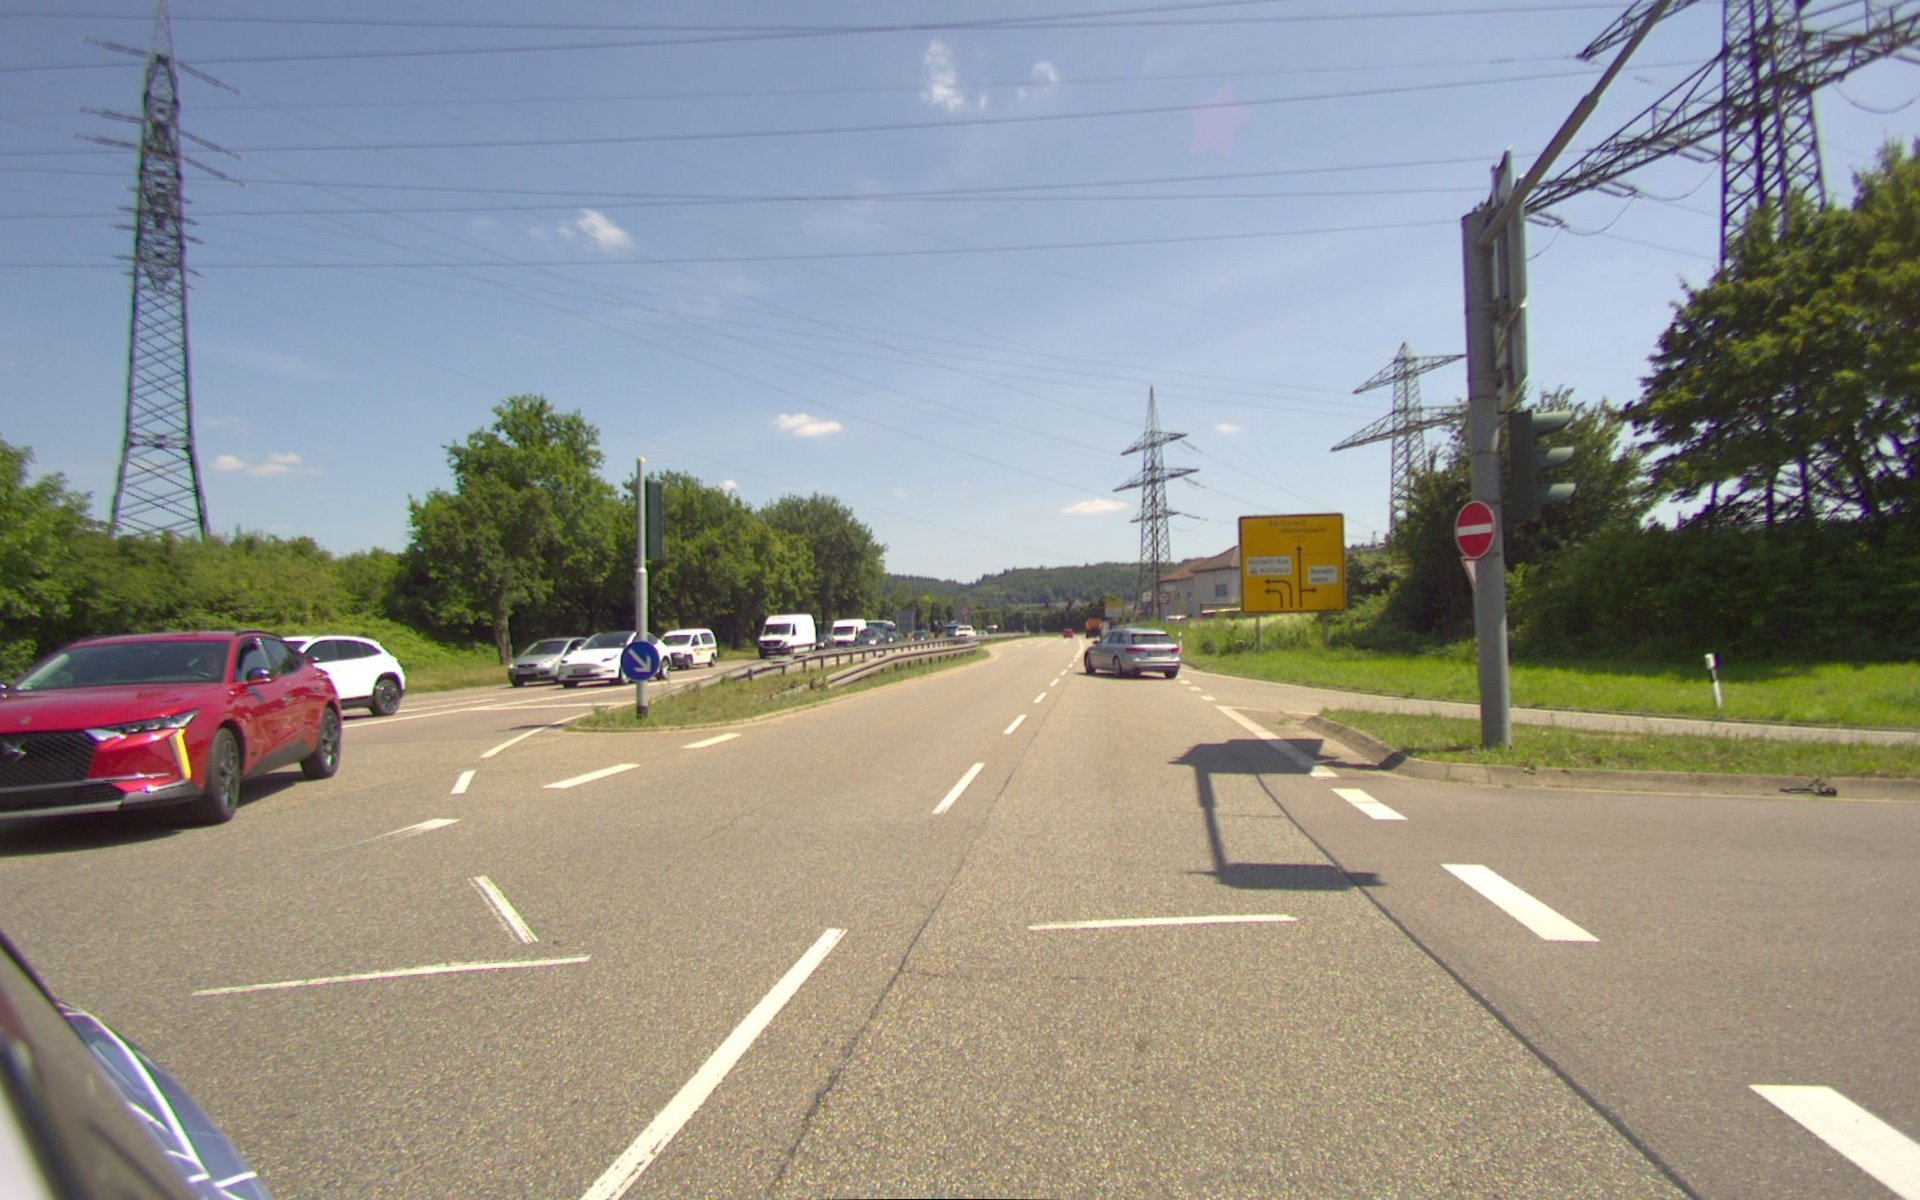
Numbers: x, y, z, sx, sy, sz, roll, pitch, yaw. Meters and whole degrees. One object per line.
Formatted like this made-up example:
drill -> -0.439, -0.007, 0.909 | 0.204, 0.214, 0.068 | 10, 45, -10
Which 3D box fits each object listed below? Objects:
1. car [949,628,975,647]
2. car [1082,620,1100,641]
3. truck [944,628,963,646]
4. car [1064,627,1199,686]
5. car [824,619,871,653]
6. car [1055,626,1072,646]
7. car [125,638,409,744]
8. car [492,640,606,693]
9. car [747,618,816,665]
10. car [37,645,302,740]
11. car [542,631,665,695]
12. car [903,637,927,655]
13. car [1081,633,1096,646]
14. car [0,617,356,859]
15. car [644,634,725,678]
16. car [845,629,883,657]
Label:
car -> 0.253, 3.684, 98.553 | 1.977, 1.776, 3.989 | -1, -2, 8
car -> 20.253, 4.713, 156.494 | 2.577, 3.084, 5.628 | -1, -2, 6
truck -> -0.901, 5.301, 146.631 | 2.144, 2.460, 4.903 | -3, -1, 5
car -> 4.969, 1.609, 30.105 | 2.013, 1.588, 4.680 | 1, -1, -18
car -> -8.757, 2.834, 79.214 | 2.283, 2.441, 5.800 | -4, -2, 7
car -> 16.537, 5.740, 161.190 | 2.577, 3.084, 5.628 | -1, -2, 6
car -> -12.285, 1.547, 18.359 | 1.829, 1.580, 4.353 | -3, -2, 7
car -> -13.920, 2.217, 34.558 | 1.728, 1.606, 4.262 | -3, -2, 7
car -> -10.860, 2.535, 62.343 | 2.207, 2.627, 7.004 | -3, -2, 6
car -> -15.510, 1.752, 20.175 | 1.749, 1.608, 4.155 | -2, -2, 7
car -> -10.728, 1.862, 30.766 | 1.998, 1.694, 3.993 | -3, -2, 5
car -> -5.016, 5.079, 112.454 | 1.976, 1.832, 3.991 | -3, -1, 7
car -> 21.165, 6.453, 166.706 | 1.974, 1.929, 3.996 | -3, -1, 3
car -> -6.733, 1.000, 8.445 | 1.817, 1.473, 4.426 | -2, -2, -16
car -> -12.548, 2.503, 46.480 | 1.789, 1.814, 5.027 | -3, -2, 6
car -> -6.539, 2.929, 69.450 | 1.856, 1.696, 3.994 | -3, -1, 5
